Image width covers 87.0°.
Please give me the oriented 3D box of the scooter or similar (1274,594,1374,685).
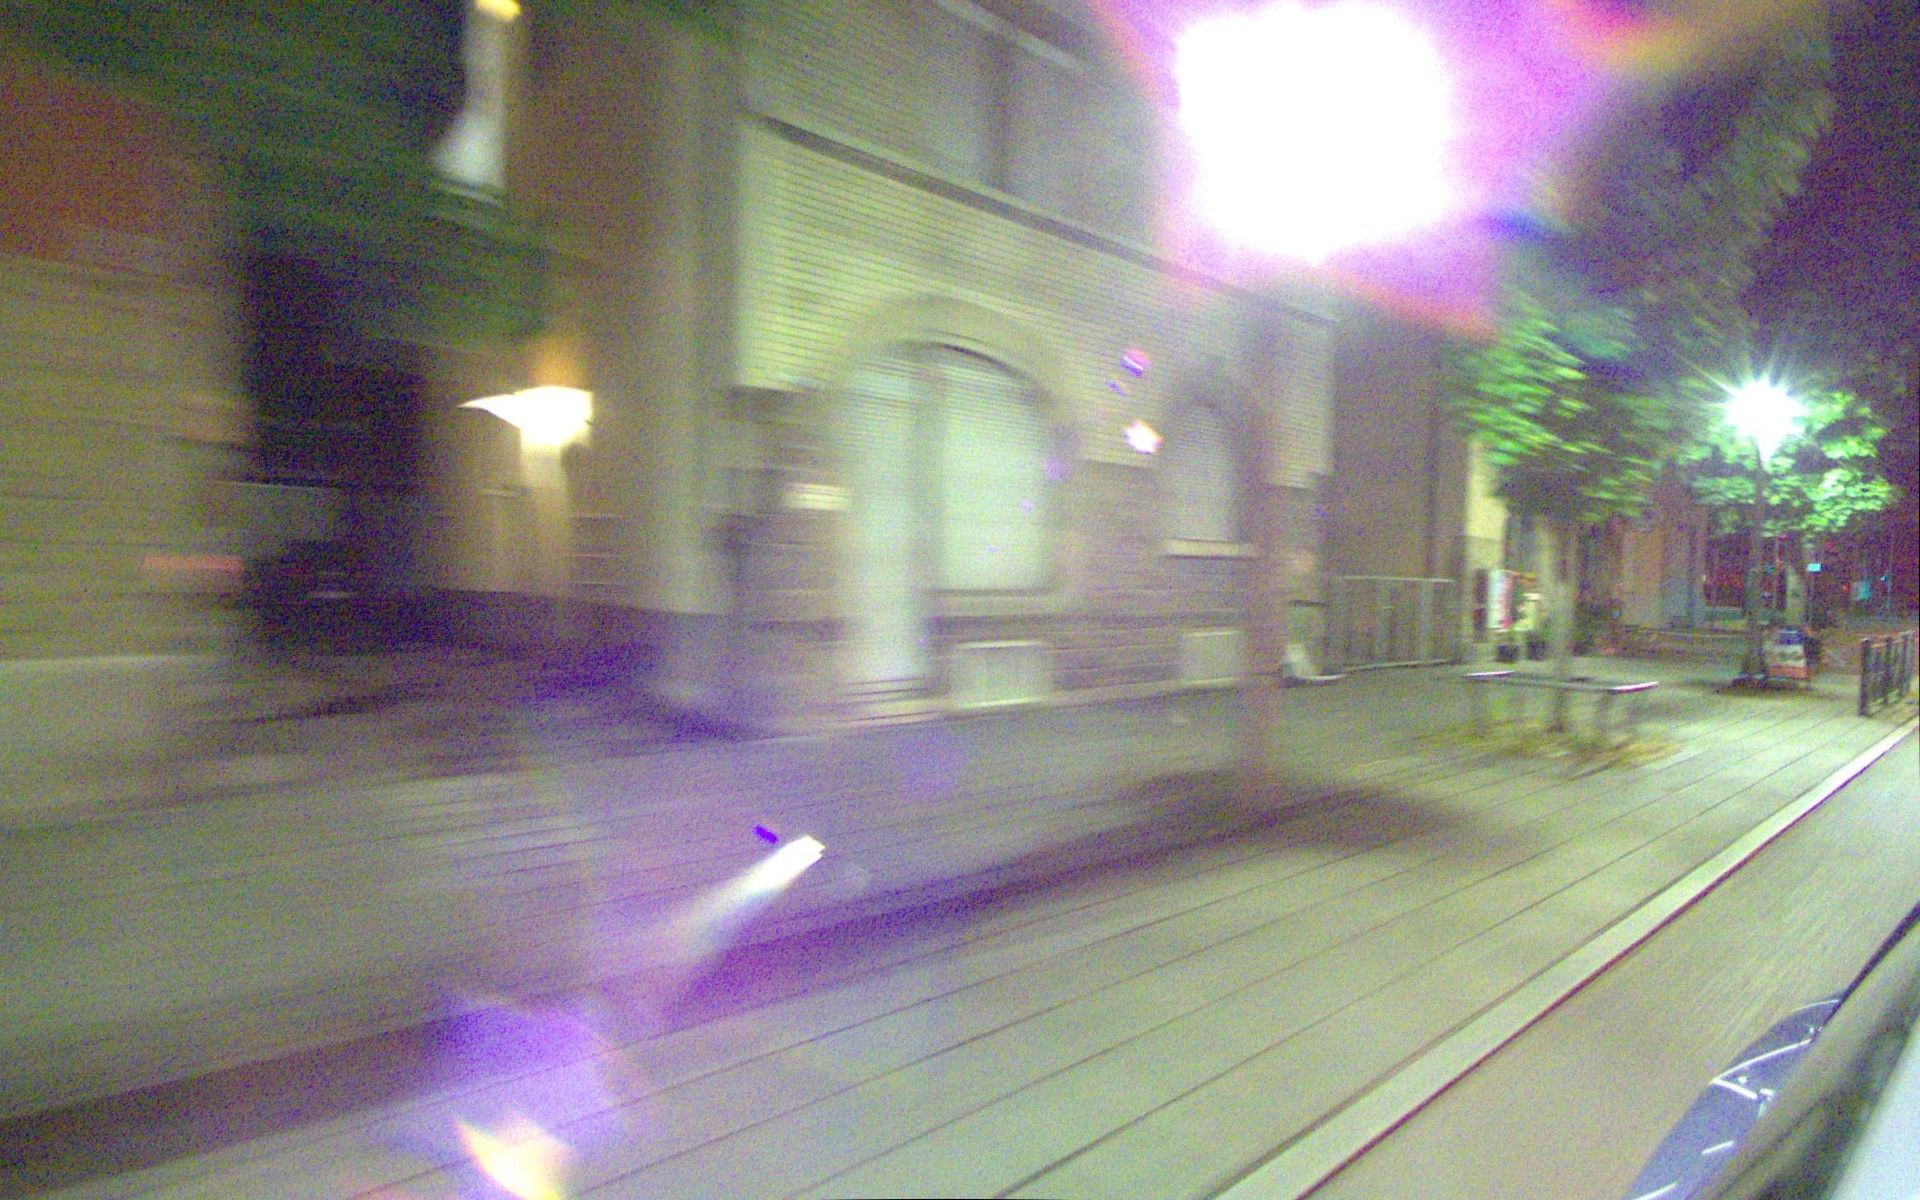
[{"bbox_3d":[4.838,0.507,13.434,1.464,1.144,0.423,1,2,-34],"label":"scooter or similar"}]
